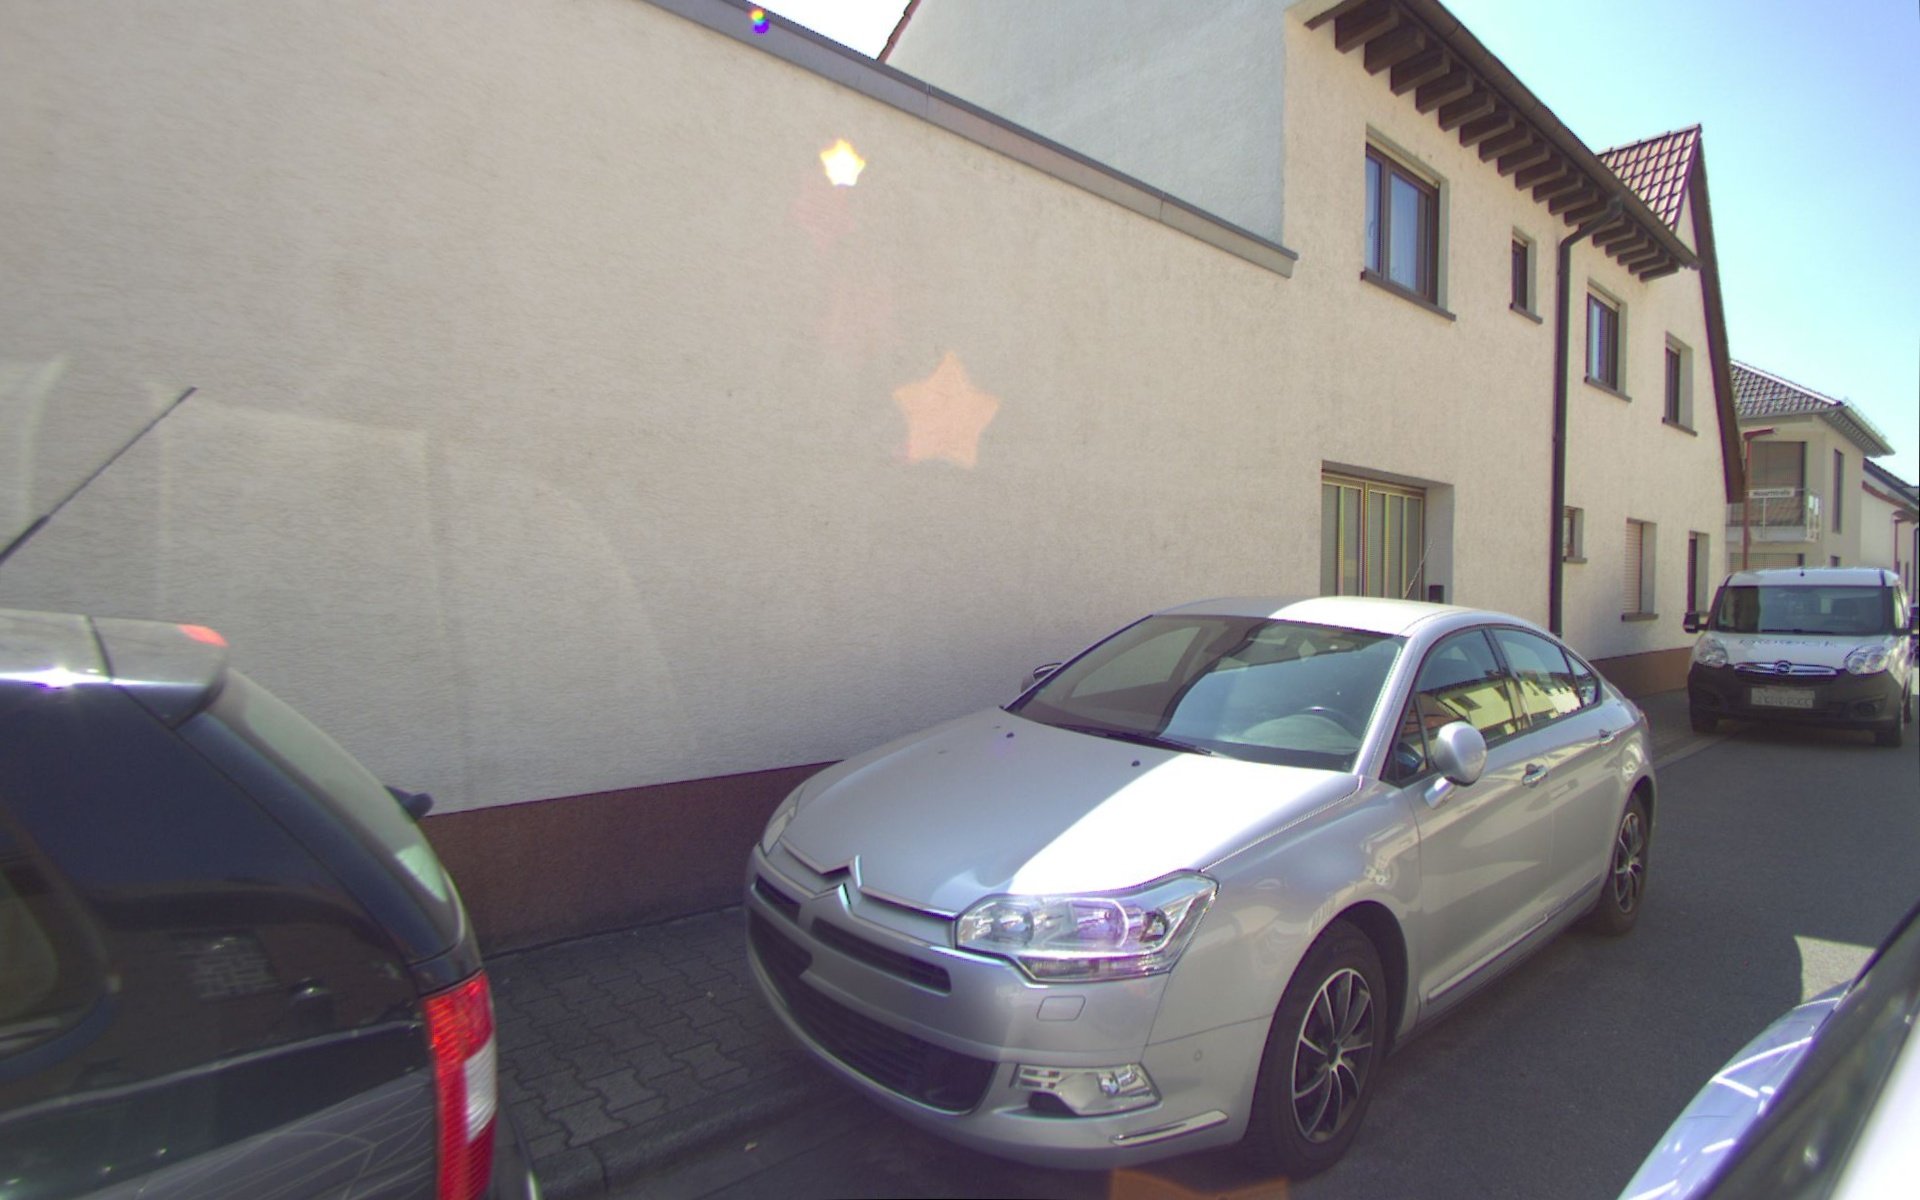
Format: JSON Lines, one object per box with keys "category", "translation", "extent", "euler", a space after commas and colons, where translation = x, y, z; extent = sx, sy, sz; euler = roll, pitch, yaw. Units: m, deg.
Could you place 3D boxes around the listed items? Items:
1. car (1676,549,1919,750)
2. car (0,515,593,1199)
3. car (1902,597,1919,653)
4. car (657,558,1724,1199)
{"category": "car", "translation": [9.830, 0.432, 11.609], "extent": [4.771, 1.848, 1.810], "euler": [-1, 0, -45]}
{"category": "car", "translation": [-2.468, 0.650, 0.403], "extent": [4.065, 1.454, 1.651], "euler": [-1, 2, -44]}
{"category": "car", "translation": [26.157, 0.636, 26.664], "extent": [3.861, 1.386, 1.636], "euler": [-1, 0, -42]}
{"category": "car", "translation": [1.441, 0.639, 4.150], "extent": [4.849, 1.499, 1.794], "euler": [-1, 3, -42]}
